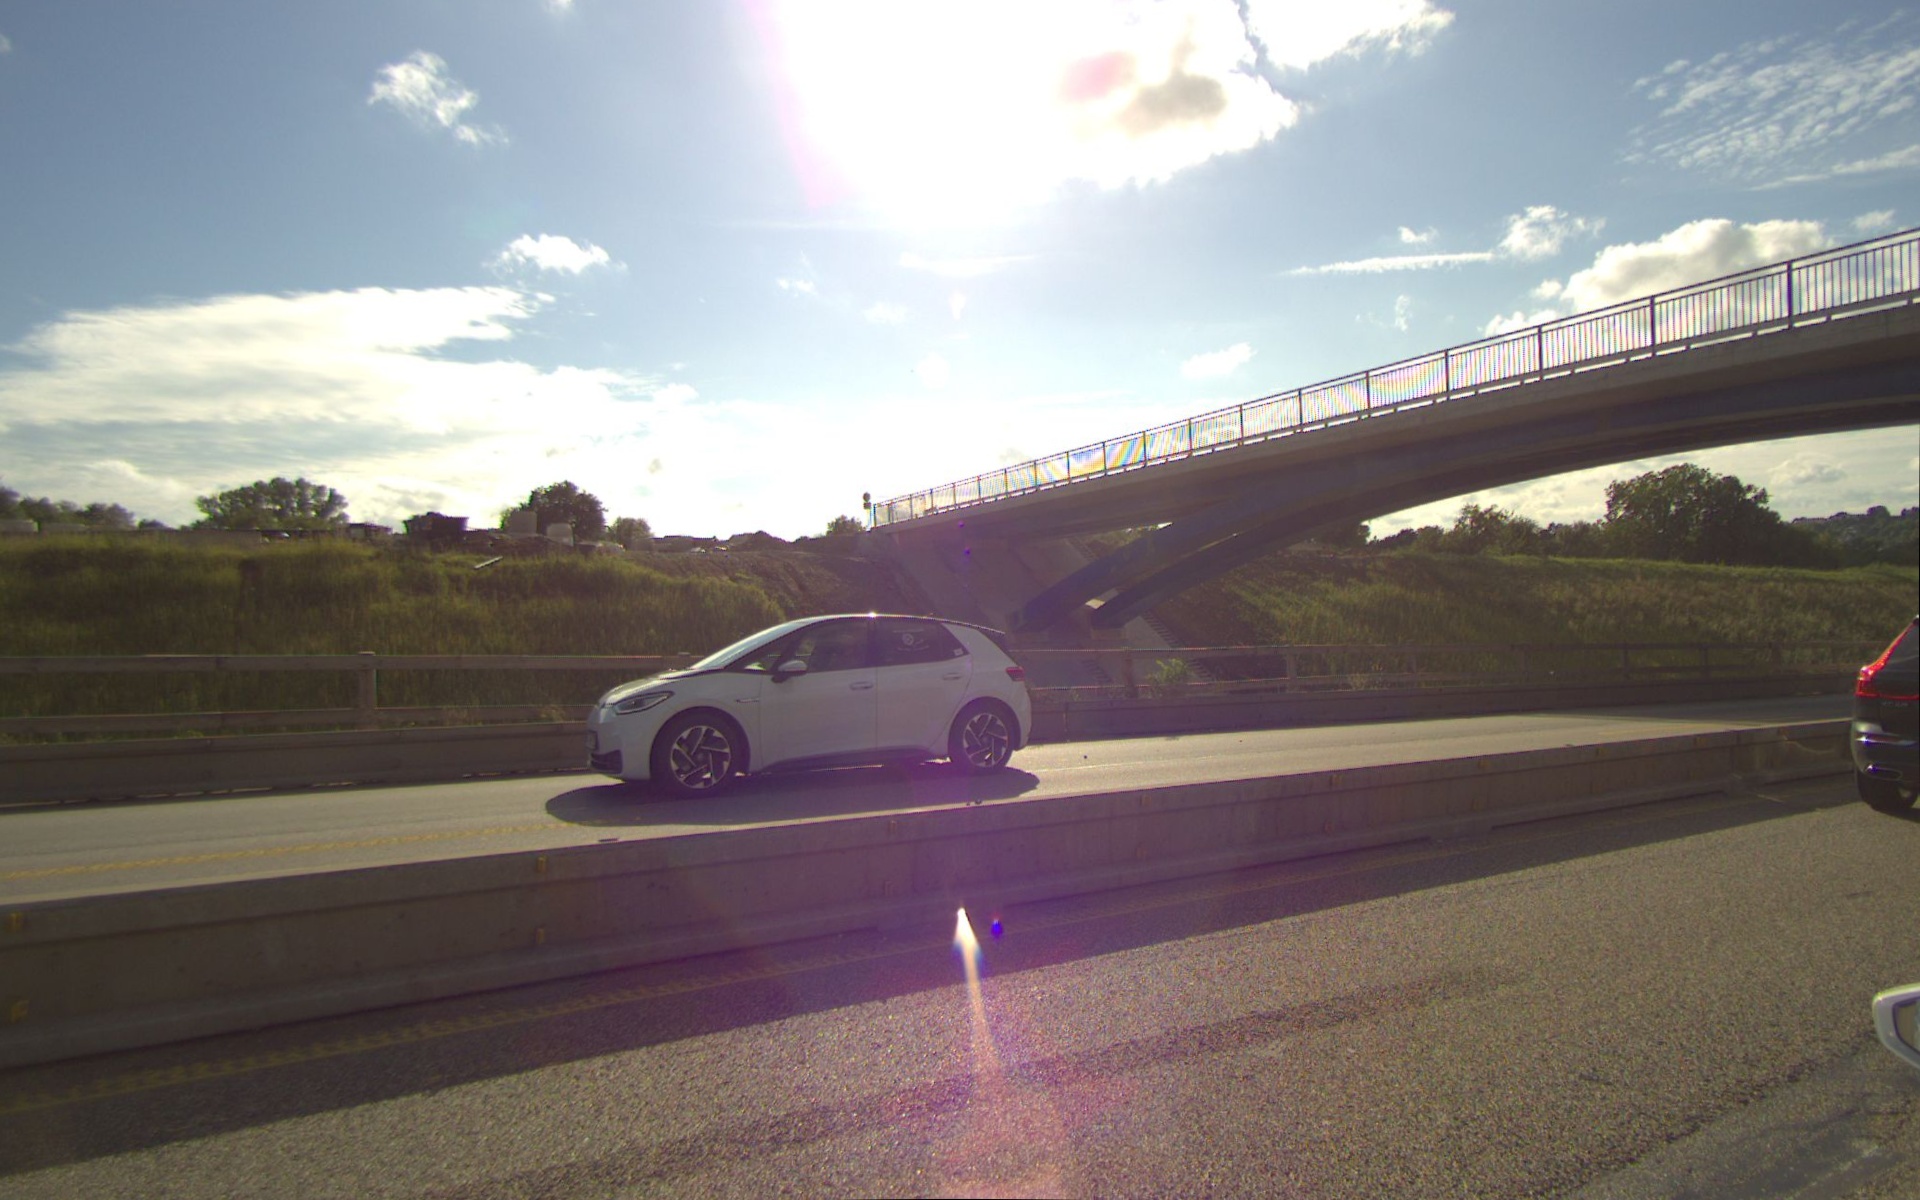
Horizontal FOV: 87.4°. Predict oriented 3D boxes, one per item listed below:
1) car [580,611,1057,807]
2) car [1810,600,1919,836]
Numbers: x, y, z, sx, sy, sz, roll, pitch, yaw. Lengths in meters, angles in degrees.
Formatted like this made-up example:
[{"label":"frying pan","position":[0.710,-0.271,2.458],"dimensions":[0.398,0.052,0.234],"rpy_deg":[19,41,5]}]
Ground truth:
[{"label":"car","position":[-1.302,0.912,9.630],"dimensions":[4.168,1.511,1.815],"rpy_deg":[1,-3,-30]},{"label":"car","position":[8.899,0.857,7.901],"dimensions":[4.695,1.646,1.984],"rpy_deg":[1,-1,-31]}]
